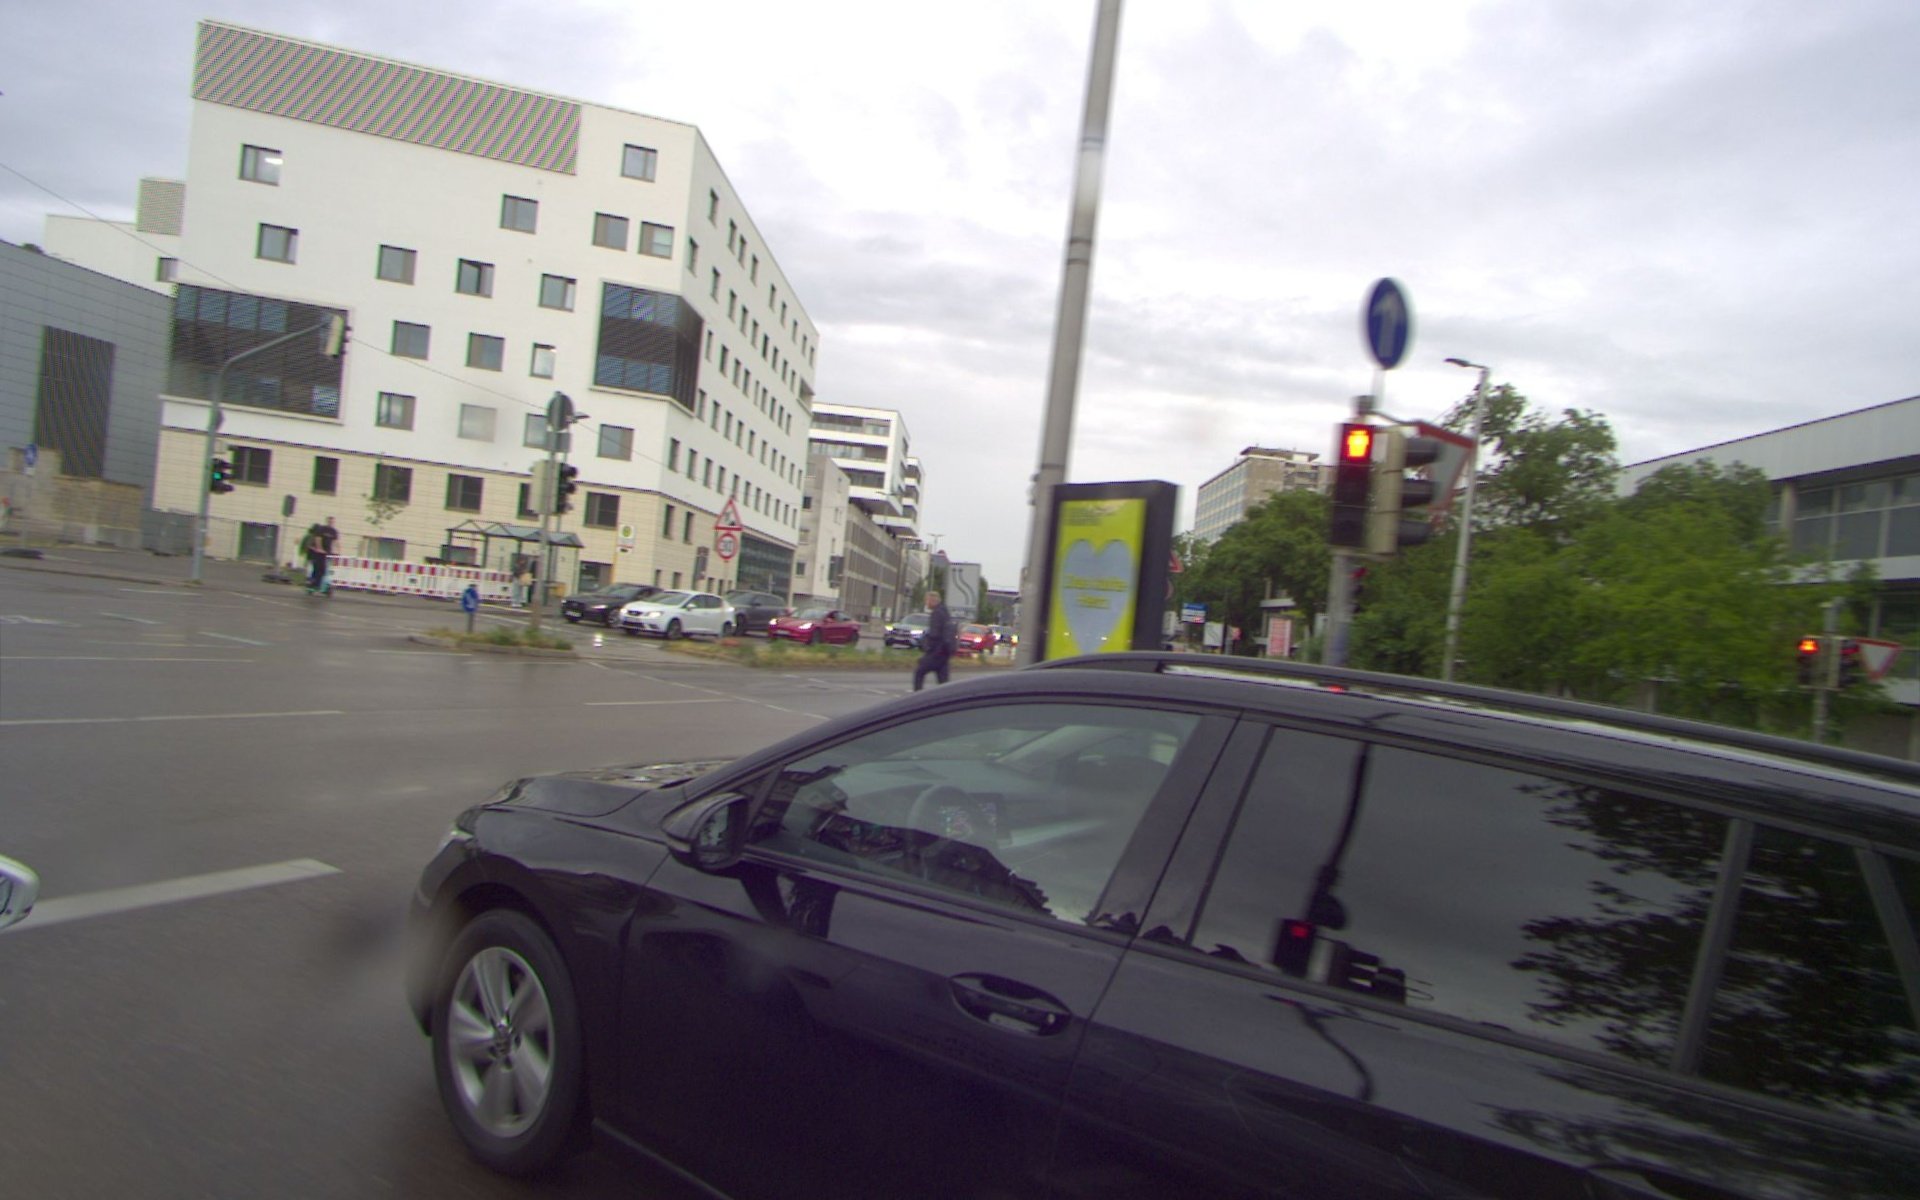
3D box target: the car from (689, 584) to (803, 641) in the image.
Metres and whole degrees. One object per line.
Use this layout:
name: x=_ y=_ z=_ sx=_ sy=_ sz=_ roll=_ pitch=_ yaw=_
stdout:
car: x=-8.022 y=0.514 z=38.162 sx=1.963 sy=1.684 sz=4.388 roll=7 pitch=-1 yaw=22

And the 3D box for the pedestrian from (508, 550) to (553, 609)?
pedestrian: x=-15.275 y=-0.718 z=35.742 sx=0.942 sy=1.957 sz=1.000 roll=4 pitch=-3 yaw=45

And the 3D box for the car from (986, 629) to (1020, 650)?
car: x=3.574 y=3.313 z=84.489 sx=1.933 sy=1.466 sz=4.156 roll=8 pitch=-2 yaw=-8

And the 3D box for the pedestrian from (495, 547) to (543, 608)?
pedestrian: x=-14.567 y=-0.724 z=33.228 sx=0.809 sy=1.861 sz=0.954 roll=5 pitch=-2 yaw=24

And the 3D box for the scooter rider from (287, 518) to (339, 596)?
scooter rider: x=-16.935 y=-1.116 z=26.328 sx=0.620 sy=1.904 sz=0.727 roll=6 pitch=-2 yaw=15

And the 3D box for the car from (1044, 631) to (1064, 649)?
car: x=10.548 y=4.439 z=113.097 sx=1.764 sy=1.726 sz=4.689 roll=7 pitch=-1 yaw=1

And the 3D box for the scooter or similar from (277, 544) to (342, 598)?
scooter or similar: x=-17.026 y=-0.750 z=26.322 sx=1.288 sy=1.253 sz=0.593 roll=6 pitch=-2 yaw=14

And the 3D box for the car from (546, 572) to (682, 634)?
car: x=-10.723 y=0.141 z=31.481 sx=1.764 sy=1.460 sz=4.002 roll=7 pitch=-2 yaw=21

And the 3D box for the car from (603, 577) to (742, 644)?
car: x=-8.350 y=0.360 z=29.567 sx=1.764 sy=1.460 sz=4.004 roll=7 pitch=-3 yaw=21

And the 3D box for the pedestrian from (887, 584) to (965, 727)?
pedestrian: x=-0.472 y=0.802 z=14.547 sx=0.814 sy=1.913 sz=1.029 roll=6 pitch=-2 yaw=5

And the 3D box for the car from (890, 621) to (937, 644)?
car: x=-4.318 y=3.013 z=93.552 sx=4.008 sy=1.575 sz=1.959 roll=6 pitch=-3 yaw=42

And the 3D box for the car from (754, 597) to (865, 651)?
car: x=-5.395 y=0.909 z=36.738 sx=1.930 sy=1.576 sz=4.530 roll=7 pitch=-1 yaw=20

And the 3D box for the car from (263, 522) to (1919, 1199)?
car: x=0.342 y=0.808 z=2.450 sx=4.438 sy=1.483 sz=1.672 roll=7 pitch=-1 yaw=33

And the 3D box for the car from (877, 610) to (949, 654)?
car: x=-2.066 y=1.467 z=45.548 sx=1.929 sy=1.554 sz=4.165 roll=7 pitch=-3 yaw=16

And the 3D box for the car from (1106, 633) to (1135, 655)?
car: x=15.368 y=4.248 z=96.644 sx=1.963 sy=1.830 sz=4.791 roll=7 pitch=-2 yaw=2

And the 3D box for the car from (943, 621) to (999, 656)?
car: x=0.670 y=2.152 z=55.310 sx=1.929 sy=1.466 sz=4.165 roll=7 pitch=-3 yaw=16
